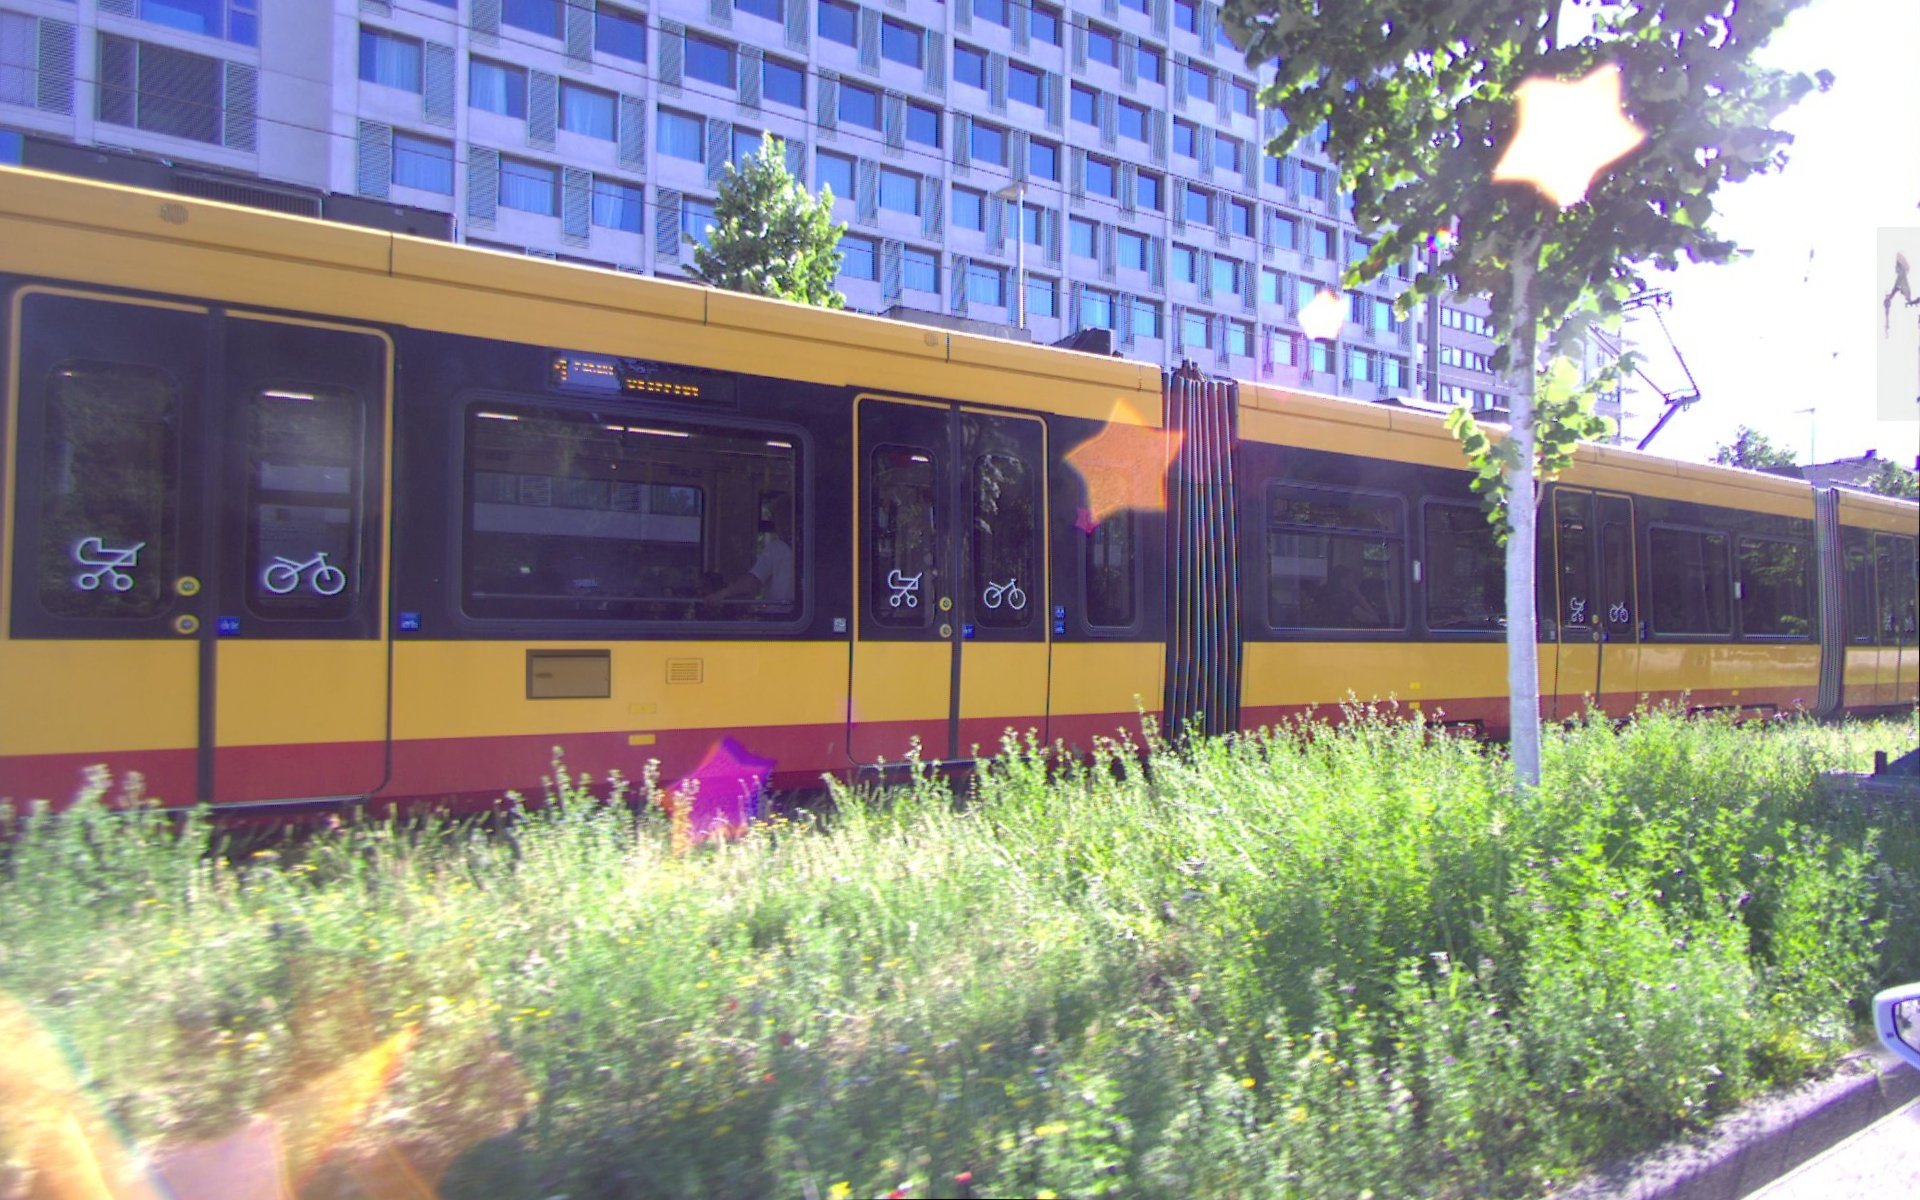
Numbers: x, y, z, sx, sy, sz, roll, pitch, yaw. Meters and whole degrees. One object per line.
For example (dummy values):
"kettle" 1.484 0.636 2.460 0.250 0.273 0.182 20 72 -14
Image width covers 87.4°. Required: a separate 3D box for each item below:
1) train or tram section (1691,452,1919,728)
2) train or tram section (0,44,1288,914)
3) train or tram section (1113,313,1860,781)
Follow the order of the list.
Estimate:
"train or tram section" 16.653 0.033 17.285 11.544 3.718 1.984 2 0 -30
"train or tram section" -3.940 -0.494 5.535 13.982 3.718 1.984 2 -1 -30
"train or tram section" 6.838 -0.261 11.661 11.182 3.718 1.984 2 -1 -30
